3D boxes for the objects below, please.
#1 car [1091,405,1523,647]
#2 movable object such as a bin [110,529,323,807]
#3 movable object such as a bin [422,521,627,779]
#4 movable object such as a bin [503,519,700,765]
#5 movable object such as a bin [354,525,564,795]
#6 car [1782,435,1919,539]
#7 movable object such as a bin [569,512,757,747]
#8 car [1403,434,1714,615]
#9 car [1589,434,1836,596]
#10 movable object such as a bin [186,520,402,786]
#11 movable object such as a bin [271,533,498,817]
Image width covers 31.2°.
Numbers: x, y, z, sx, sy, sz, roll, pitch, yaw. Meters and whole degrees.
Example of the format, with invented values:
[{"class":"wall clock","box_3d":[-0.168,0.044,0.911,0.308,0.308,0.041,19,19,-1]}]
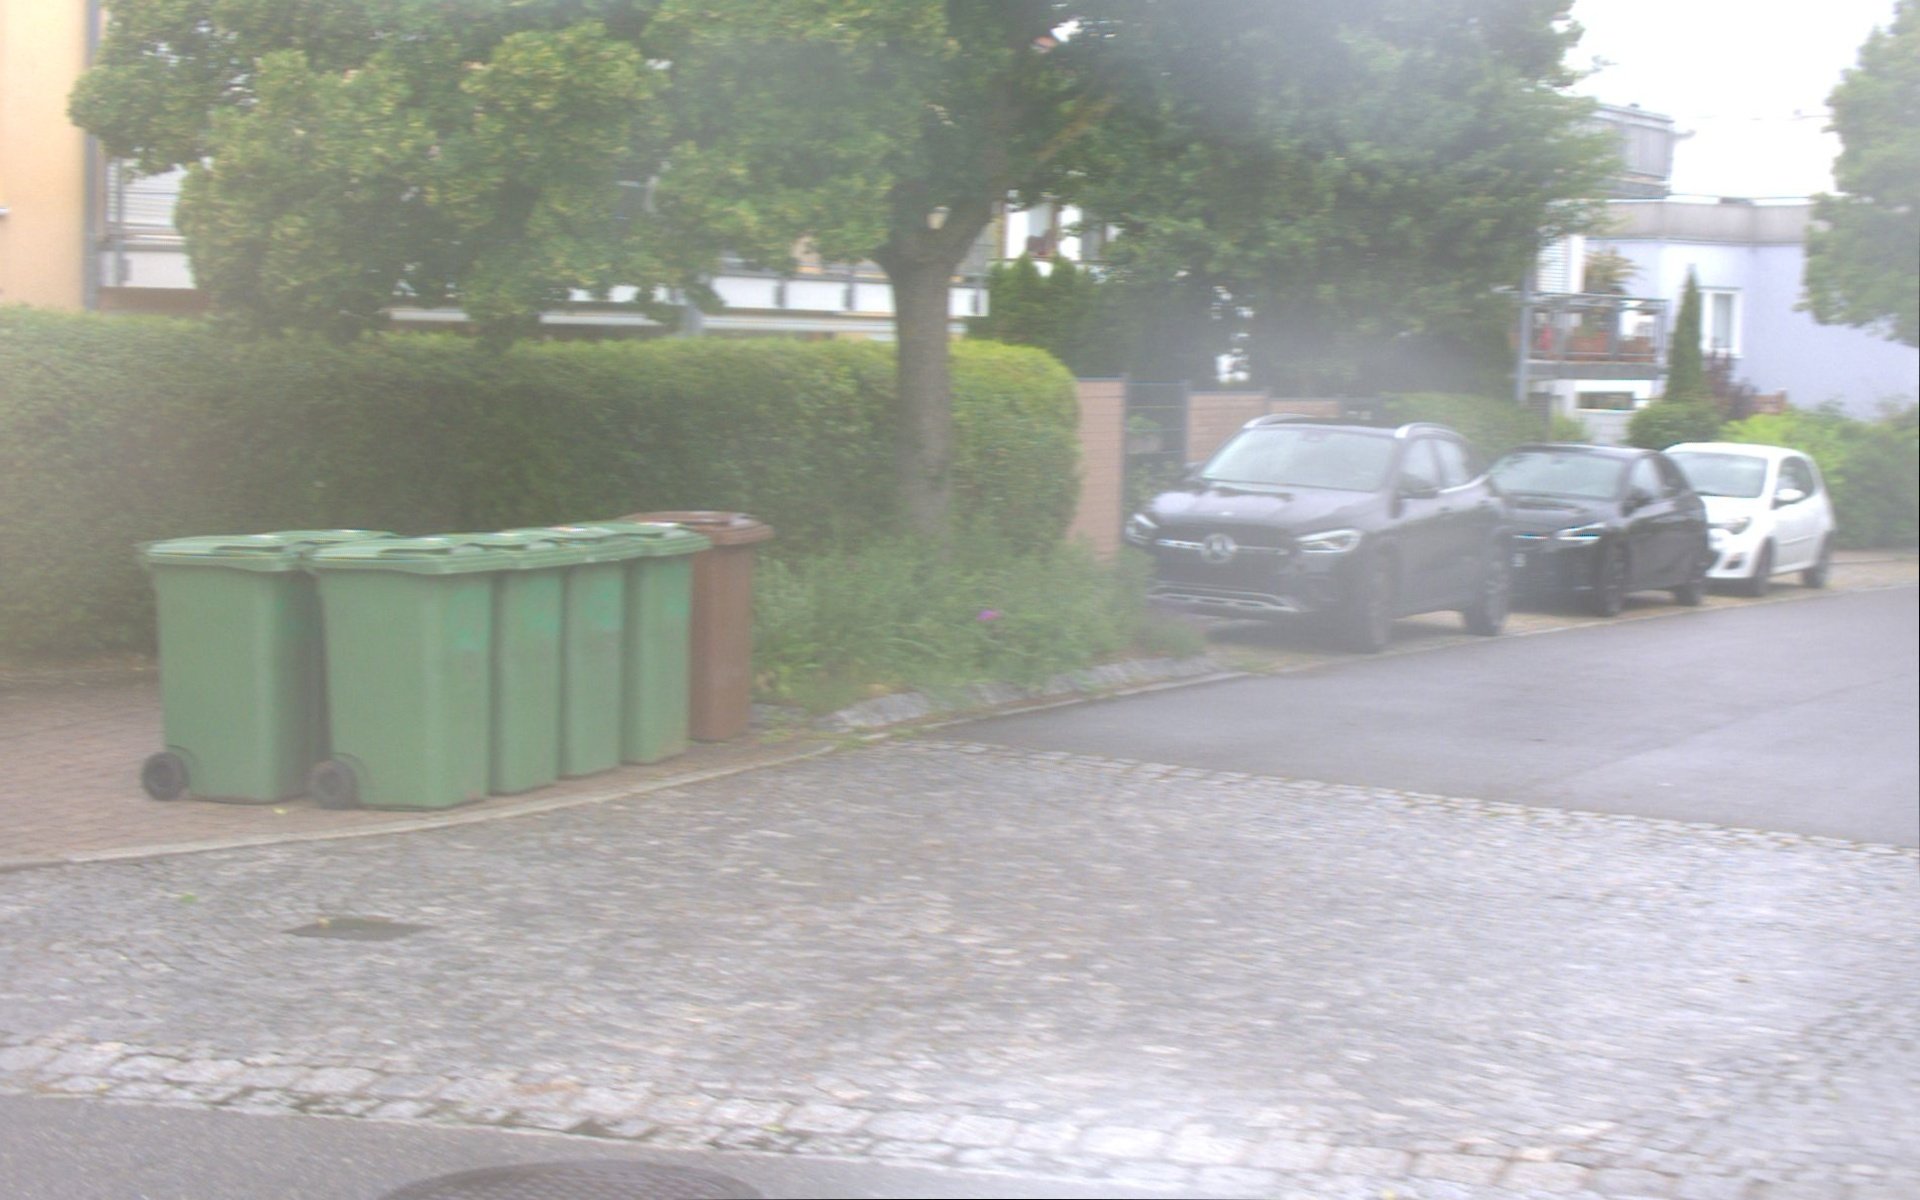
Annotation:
[{"class":"car","box_3d":[2.636,-0.585,25.233,1.778,1.513,4.132,5,4,25]},{"class":"movable object such as a bin","box_3d":[-3.033,0.265,14.048,0.666,1.069,0.543,2,3,18]},{"class":"movable object such as a bin","box_3d":[-1.893,0.205,14.980,0.695,1.063,0.578,2,3,18]},{"class":"movable object such as a bin","box_3d":[-1.617,0.177,15.547,0.695,1.051,0.605,2,3,18]},{"class":"movable object such as a bin","box_3d":[-2.099,0.241,14.428,0.695,1.071,0.543,2,3,18]},{"class":"car","box_3d":[15.509,-1.791,55.611,3.992,1.562,1.906,4,3,22]},{"class":"movable object such as a bin","box_3d":[-1.404,0.128,16.291,0.695,1.051,0.605,2,3,18]},{"class":"car","box_3d":[5.378,-0.700,30.569,1.638,1.404,3.600,5,4,27]},{"class":"car","box_3d":[7.681,-0.879,34.925,1.513,1.471,3.268,5,4,28]},{"class":"movable object such as a bin","box_3d":[-2.827,0.211,14.619,0.695,1.068,0.597,2,3,18]},{"class":"movable object such as a bin","box_3d":[-2.311,0.286,13.837,0.695,1.071,0.602,2,3,18]}]
